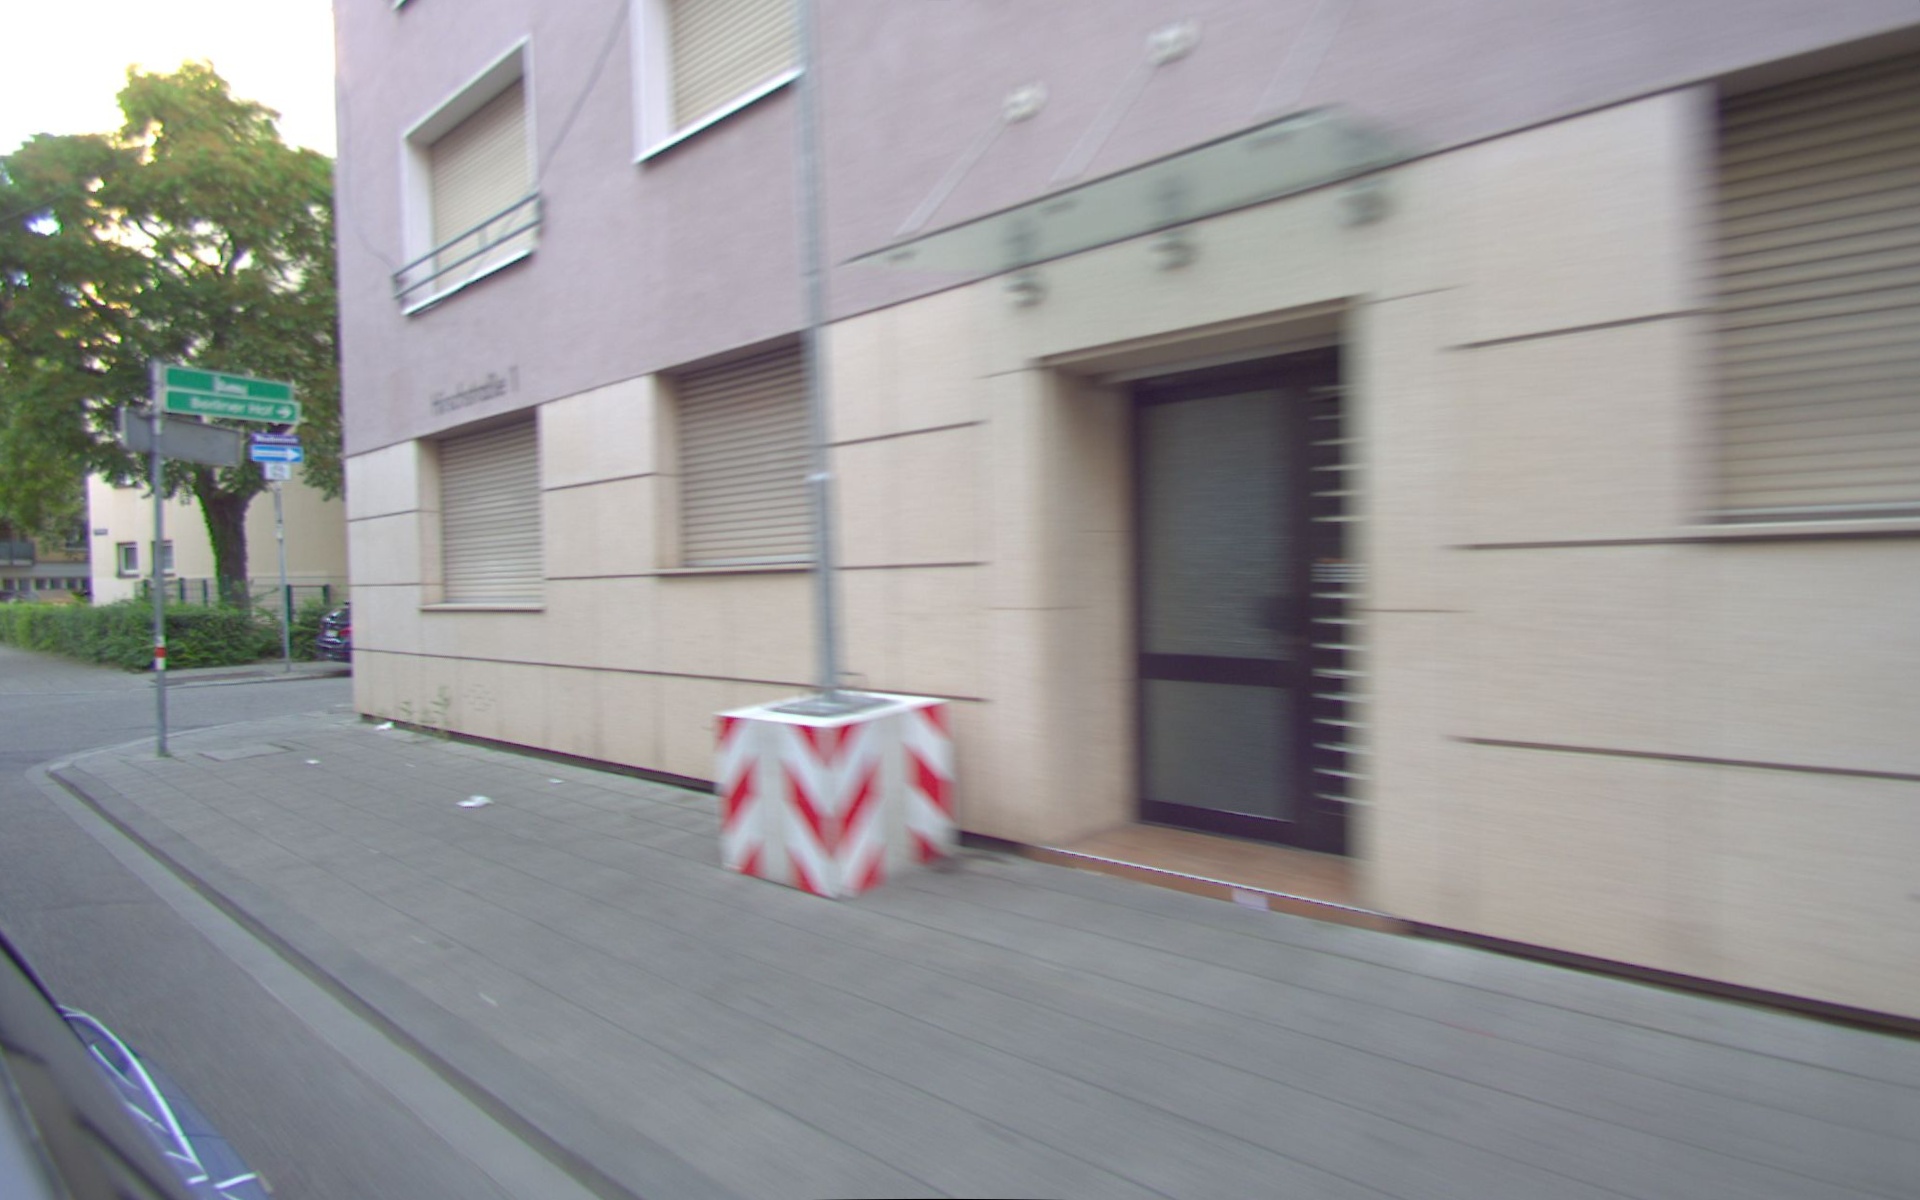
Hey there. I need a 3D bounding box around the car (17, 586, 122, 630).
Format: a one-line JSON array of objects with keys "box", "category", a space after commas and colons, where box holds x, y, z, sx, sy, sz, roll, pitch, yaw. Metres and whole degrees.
[{"box": [-45.492, 0.359, 51.741, 4.295, 2.092, 2.215, 1, 1, 19], "category": "car"}]

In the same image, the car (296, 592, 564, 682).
[{"box": [-10.262, 0.626, 19.887, 1.725, 1.493, 4.328, 1, 2, 39], "category": "car"}]

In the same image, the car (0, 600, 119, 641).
[{"box": [-40.493, 0.867, 44.990, 1.986, 1.708, 4.363, 0, 0, 21], "category": "car"}]

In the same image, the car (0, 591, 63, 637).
[{"box": [-46.560, 0.644, 49.479, 4.295, 2.092, 2.215, 1, 1, 19], "category": "car"}]
